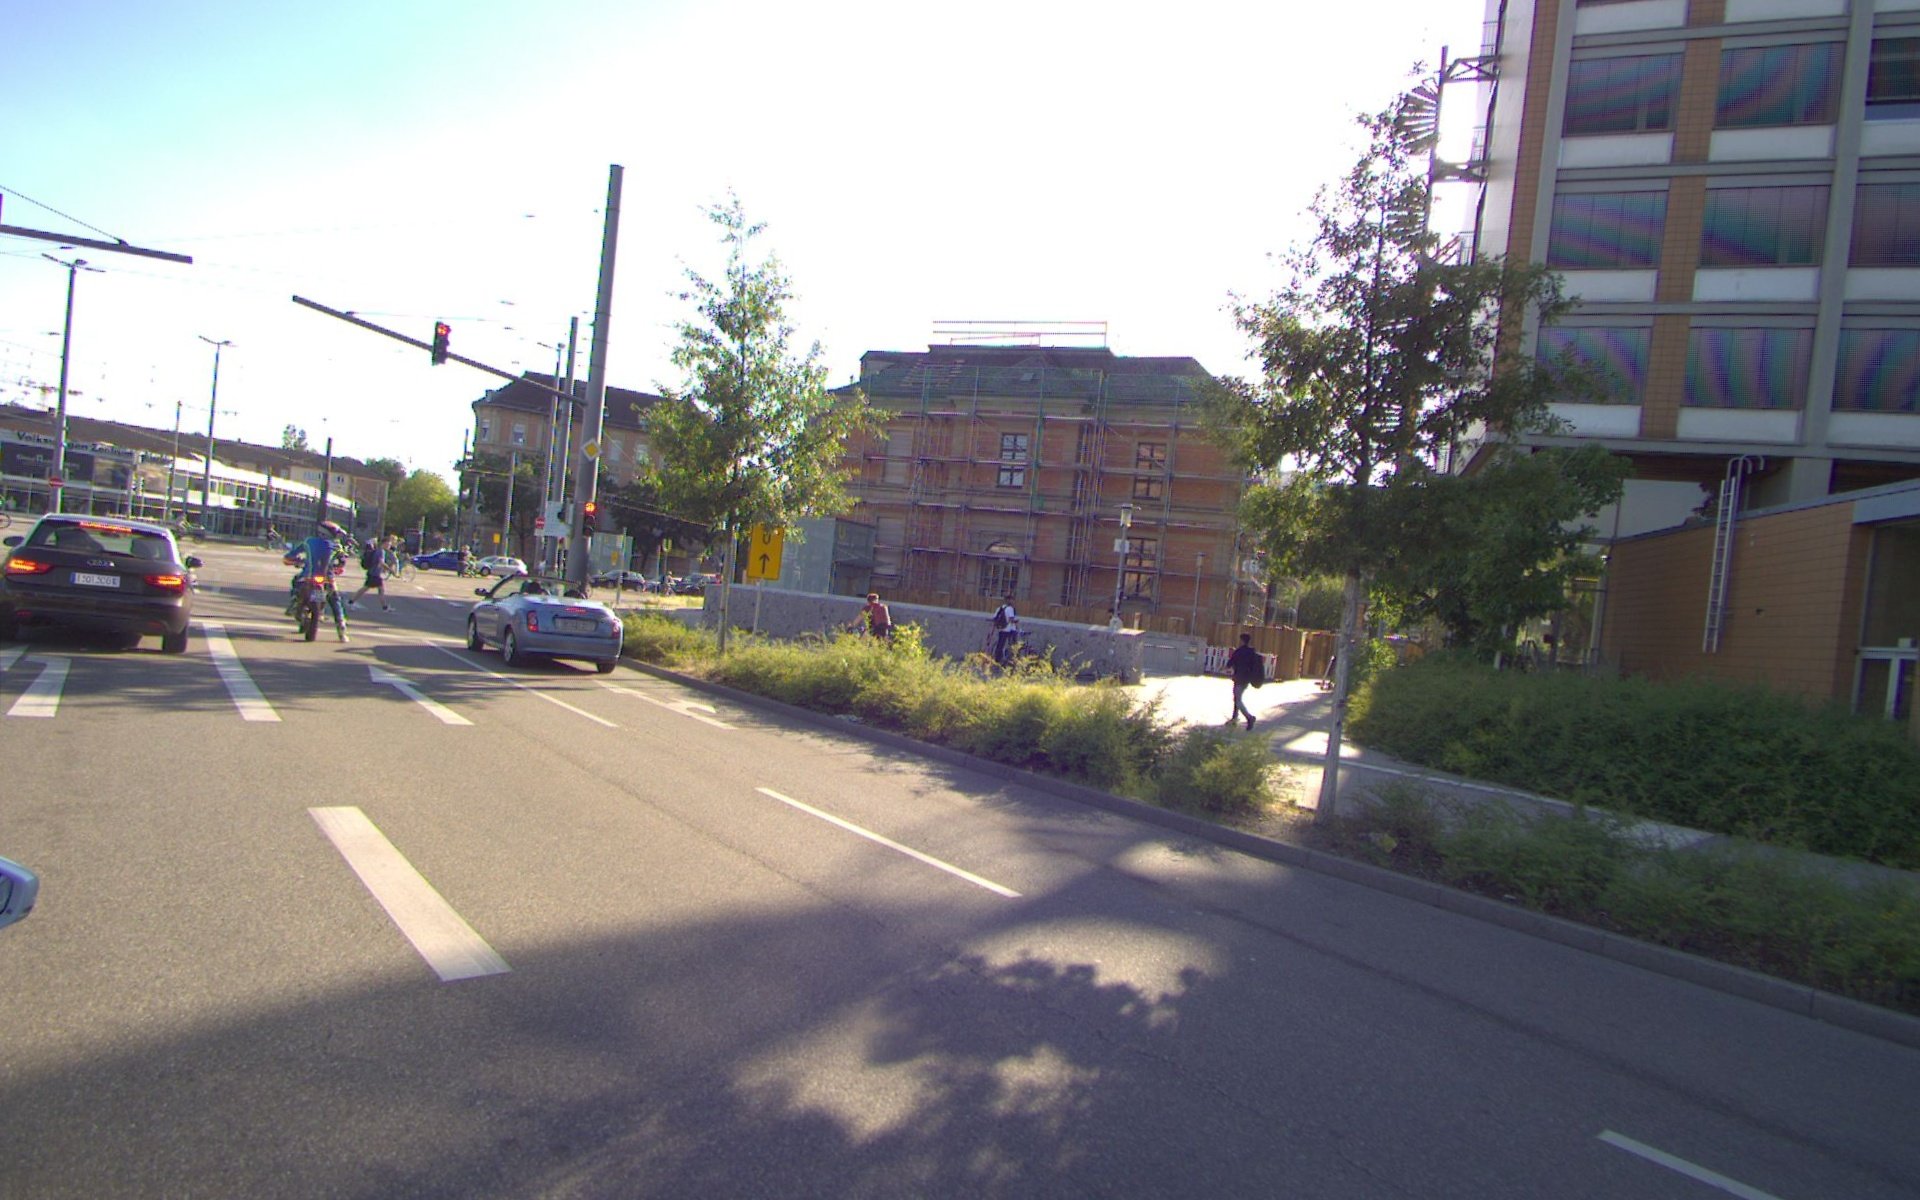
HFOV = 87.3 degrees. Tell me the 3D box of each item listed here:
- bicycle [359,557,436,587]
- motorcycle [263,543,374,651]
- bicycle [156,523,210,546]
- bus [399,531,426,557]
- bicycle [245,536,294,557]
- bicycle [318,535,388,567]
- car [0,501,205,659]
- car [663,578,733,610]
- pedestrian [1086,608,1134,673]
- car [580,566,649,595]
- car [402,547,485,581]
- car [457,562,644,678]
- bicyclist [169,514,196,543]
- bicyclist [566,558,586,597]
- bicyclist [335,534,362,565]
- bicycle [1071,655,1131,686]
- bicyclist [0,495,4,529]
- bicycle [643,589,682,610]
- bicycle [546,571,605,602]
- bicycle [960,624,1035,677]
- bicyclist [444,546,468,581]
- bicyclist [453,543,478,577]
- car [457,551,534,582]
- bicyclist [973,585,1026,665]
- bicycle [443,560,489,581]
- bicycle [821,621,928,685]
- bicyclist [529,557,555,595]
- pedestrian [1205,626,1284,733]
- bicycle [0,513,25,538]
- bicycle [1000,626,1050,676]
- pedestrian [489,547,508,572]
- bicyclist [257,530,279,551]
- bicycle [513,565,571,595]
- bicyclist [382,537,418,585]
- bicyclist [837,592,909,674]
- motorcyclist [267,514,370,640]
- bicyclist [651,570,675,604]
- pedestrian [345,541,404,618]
[{"bbox_3d":[-22.087,-1.088,39.545,0.845,0.885,2.497,8,0,30],"label":"bicycle"},{"bbox_3d":[-9.760,-0.081,15.254,1.090,1.394,2.626,7,-1,-37],"label":"motorcycle"},{"bbox_3d":[-46.011,-3.856,59.593,0.846,0.991,2.299,9,0,31],"label":"bicycle"},{"bbox_3d":[-72.460,-7.438,133.254,2.334,2.919,9.511,7,1,-26],"label":"bus"},{"bbox_3d":[-42.184,-3.285,61.520,0.844,0.971,2.302,8,0,23],"label":"bicycle"},{"bbox_3d":[-42.143,-3.381,69.919,1.120,1.711,3.991,9,0,33],"label":"bicycle"},{"bbox_3d":[-10.343,-0.294,12.110,1.793,1.461,3.936,8,-2,-38],"label":"car"},{"bbox_3d":[-20.011,-0.421,77.107,1.927,1.916,4.826,6,0,42],"label":"car"},{"bbox_3d":[4.354,1.178,29.179,0.922,1.745,0.985,6,1,32],"label":"pedestrian"},{"bbox_3d":[-23.894,-1.354,69.754,1.923,1.504,4.091,6,-1,35],"label":"car"},{"bbox_3d":[-33.419,-2.318,65.139,4.569,1.614,1.937,7,0,-32],"label":"car"},{"bbox_3d":[-6.911,0.269,16.748,1.792,1.461,3.938,8,-2,-37],"label":"car"},{"bbox_3d":[-46.011,-4.223,59.530,0.846,1.579,0.925,9,1,31],"label":"bicyclist"},{"bbox_3d":[-18.279,-1.076,47.877,0.642,1.712,0.856,7,1,-19],"label":"bicyclist"},{"bbox_3d":[-42.321,-3.520,69.640,1.104,1.924,1.071,9,1,33],"label":"bicyclist"},{"bbox_3d":[3.372,1.681,24.116,1.337,0.547,0.428,7,2,38],"label":"bicycle"},{"bbox_3d":[-44.543,-4.100,46.041,0.948,1.579,0.923,6,1,36],"label":"bicyclist"},{"bbox_3d":[-16.195,-0.011,54.823,0.844,0.917,2.304,8,0,15],"label":"bicycle"},{"bbox_3d":[-18.280,-0.645,47.901,2.466,1.147,0.856,8,1,-19],"label":"bicycle"},{"bbox_3d":[0.854,1.180,23.748,0.783,1.052,1.948,4,0,-30],"label":"bicycle"},{"bbox_3d":[-27.304,-1.964,54.459,0.850,1.800,0.584,6,1,17],"label":"bicyclist"},{"bbox_3d":[-27.070,-2.178,55.038,0.844,1.712,0.651,8,1,16],"label":"bicyclist"},{"bbox_3d":[-30.043,-2.148,65.171,1.921,1.470,4.101,6,-1,30],"label":"car"},{"bbox_3d":[0.924,0.579,23.691,0.780,1.809,0.887,4,1,-31],"label":"bicyclist"},{"bbox_3d":[-27.099,-1.622,55.248,0.844,0.917,2.304,8,0,16],"label":"bicycle"},{"bbox_3d":[-1.629,0.961,18.735,0.717,0.963,2.224,7,-2,-42],"label":"bicycle"},{"bbox_3d":[-20.594,-1.178,49.591,0.846,1.712,0.649,9,2,34],"label":"bicyclist"},{"bbox_3d":[4.865,1.346,17.225,0.798,1.678,0.786,8,-1,-23],"label":"pedestrian"},{"bbox_3d":[-44.600,-3.517,46.062,0.948,1.016,2.438,6,0,36],"label":"bicycle"},{"bbox_3d":[1.555,1.227,24.454,0.618,1.052,1.958,4,0,-13],"label":"bicycle"},{"bbox_3d":[-33.902,-2.963,73.891,0.920,1.697,0.774,6,1,-39],"label":"pedestrian"},{"bbox_3d":[-42.204,-3.637,61.351,0.822,1.157,0.714,8,1,23],"label":"bicyclist"},{"bbox_3d":[-20.604,-0.981,49.616,0.846,1.147,2.495,9,0,33],"label":"bicycle"},{"bbox_3d":[-22.027,-1.528,39.538,0.845,1.712,0.746,9,1,30],"label":"bicyclist"},{"bbox_3d":[-1.633,0.612,18.788,0.717,1.401,1.063,7,-2,-42],"label":"bicyclist"},{"bbox_3d":[-9.737,-0.346,15.265,1.090,1.742,0.927,7,-1,-38],"label":"motorcyclist"},{"bbox_3d":[-16.131,-0.686,54.726,0.844,1.712,0.651,8,1,15],"label":"bicyclist"},{"bbox_3d":[-13.661,-0.469,23.477,0.685,1.692,0.829,6,1,12],"label":"pedestrian"}]
